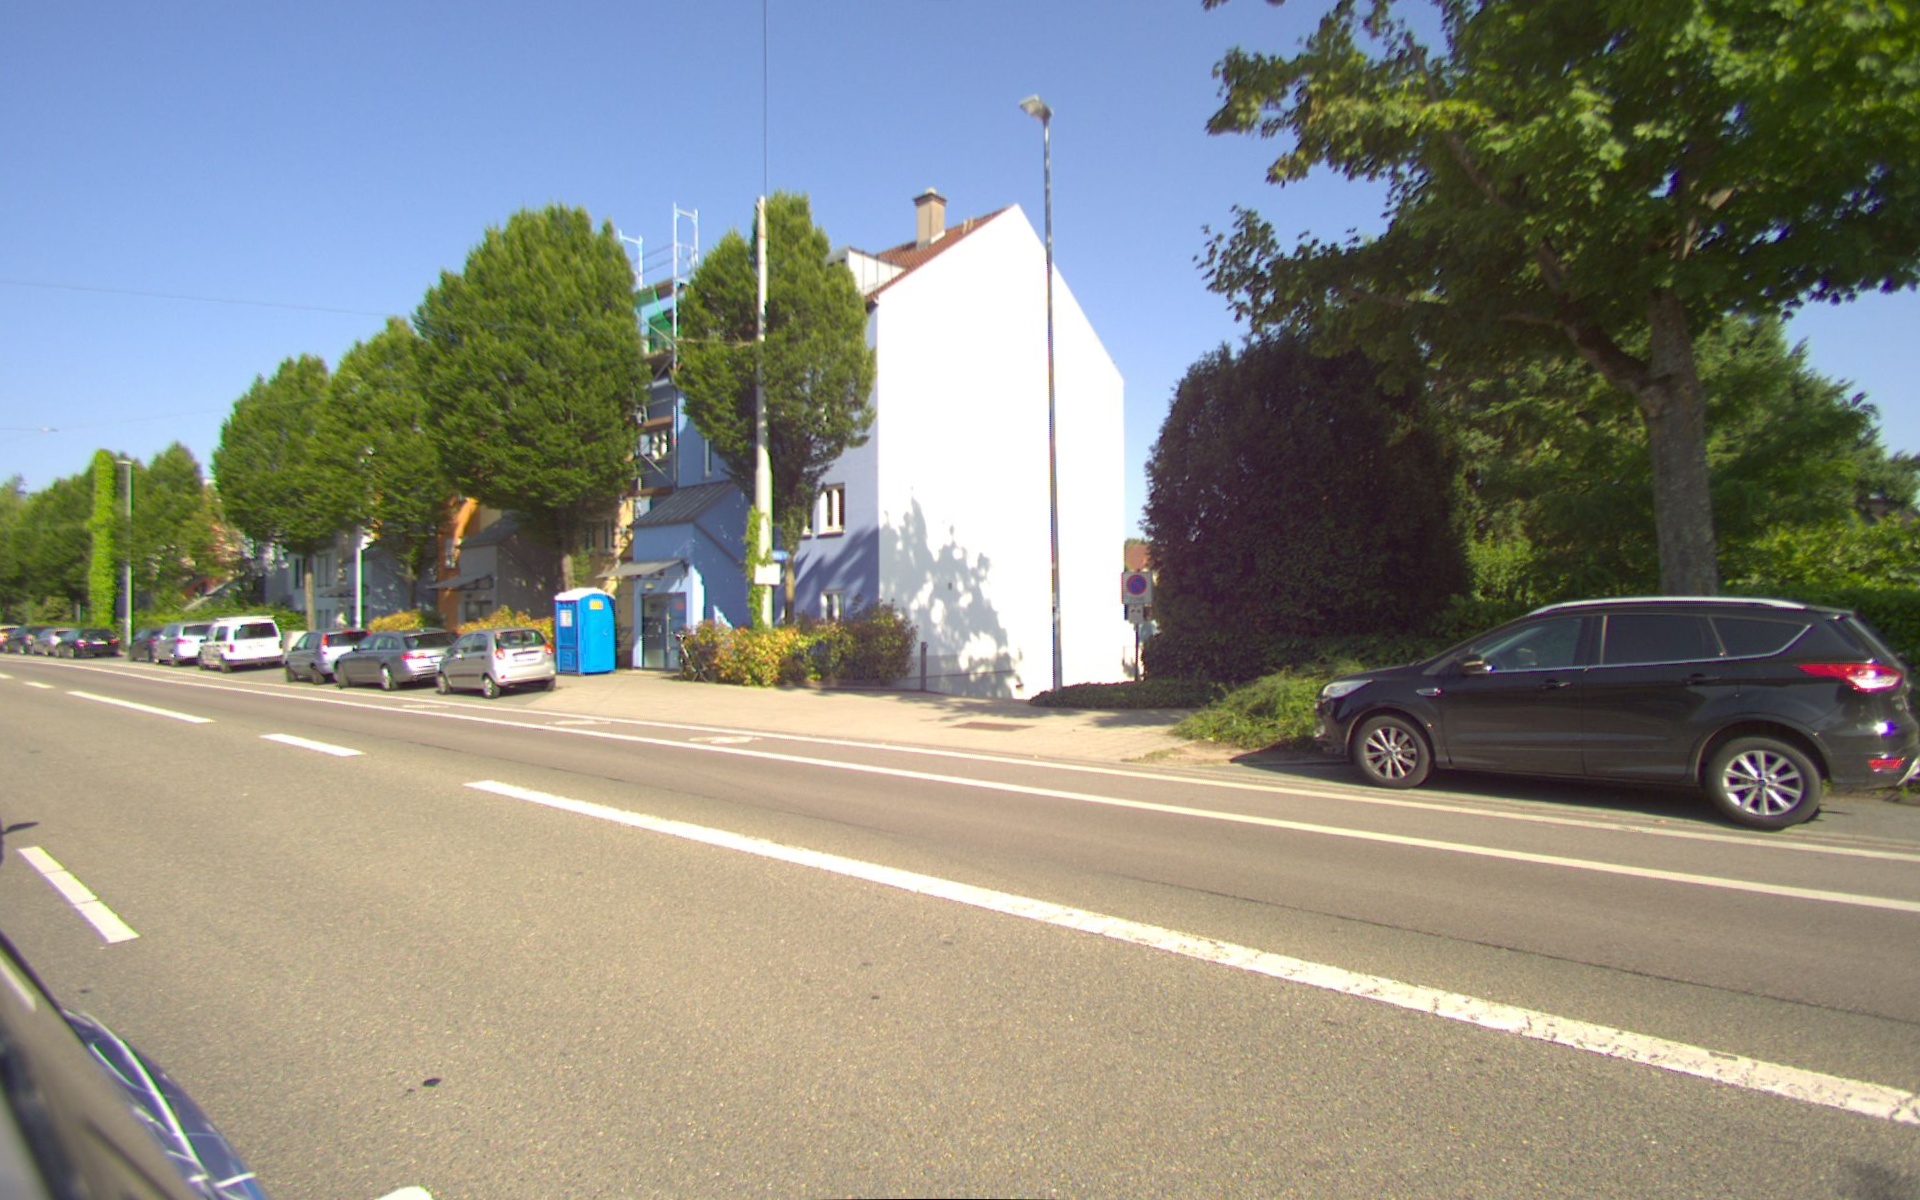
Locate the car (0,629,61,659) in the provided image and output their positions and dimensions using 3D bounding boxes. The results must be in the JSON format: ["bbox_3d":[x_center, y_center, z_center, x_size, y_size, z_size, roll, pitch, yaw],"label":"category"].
[{"bbox_3d":[-52.977,2.491,57.372,4.420,1.586,1.750,-1,0,31],"label":"car"}]

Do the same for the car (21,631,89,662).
[{"bbox_3d":[-48.587,2.455,54.304,4.834,1.482,1.697,0,1,35],"label":"car"}]

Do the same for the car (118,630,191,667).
[{"bbox_3d":[-34.928,2.057,43.836,4.053,1.477,1.600,-1,0,39],"label":"car"}]

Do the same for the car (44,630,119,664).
[{"bbox_3d":[-43.979,2.314,50.657,4.901,1.556,1.849,-1,1,37],"label":"car"}]

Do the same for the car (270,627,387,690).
[{"bbox_3d":[-18.497,1.647,29.589,3.979,1.550,1.745,-1,3,41],"label":"car"}]

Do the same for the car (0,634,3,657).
[{"bbox_3d":[-62.150,2.880,63.786,4.700,1.435,1.638,-2,-2,34],"label":"car"}]

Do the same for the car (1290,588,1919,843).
[{"bbox_3d":[5.374,0.830,8.853,4.420,1.707,1.694,-2,-2,41],"label":"car"}]

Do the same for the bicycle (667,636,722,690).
[{"bbox_3d":[-6.070,1.412,23.101,0.438,1.163,1.786,1,-1,-42],"label":"bicycle"}]

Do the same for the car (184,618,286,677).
[{"bbox_3d":[-26.077,1.679,36.341,4.575,1.859,1.746,-2,3,39],"label":"car"}]

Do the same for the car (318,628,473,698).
[{"bbox_3d":[-14.690,1.564,26.234,4.749,1.522,1.732,-2,3,38],"label":"car"}]

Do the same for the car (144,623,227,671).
[{"bbox_3d":[-30.884,1.833,40.285,4.821,1.713,1.651,-1,0,41],"label":"car"}]

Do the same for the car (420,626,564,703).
[{"bbox_3d":[-10.715,1.409,23.087,3.506,1.505,1.585,-1,3,40],"label":"car"}]

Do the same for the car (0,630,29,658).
[{"bbox_3d":[-57.733,2.644,60.821,4.151,1.586,1.748,-1,-1,34],"label":"car"}]
